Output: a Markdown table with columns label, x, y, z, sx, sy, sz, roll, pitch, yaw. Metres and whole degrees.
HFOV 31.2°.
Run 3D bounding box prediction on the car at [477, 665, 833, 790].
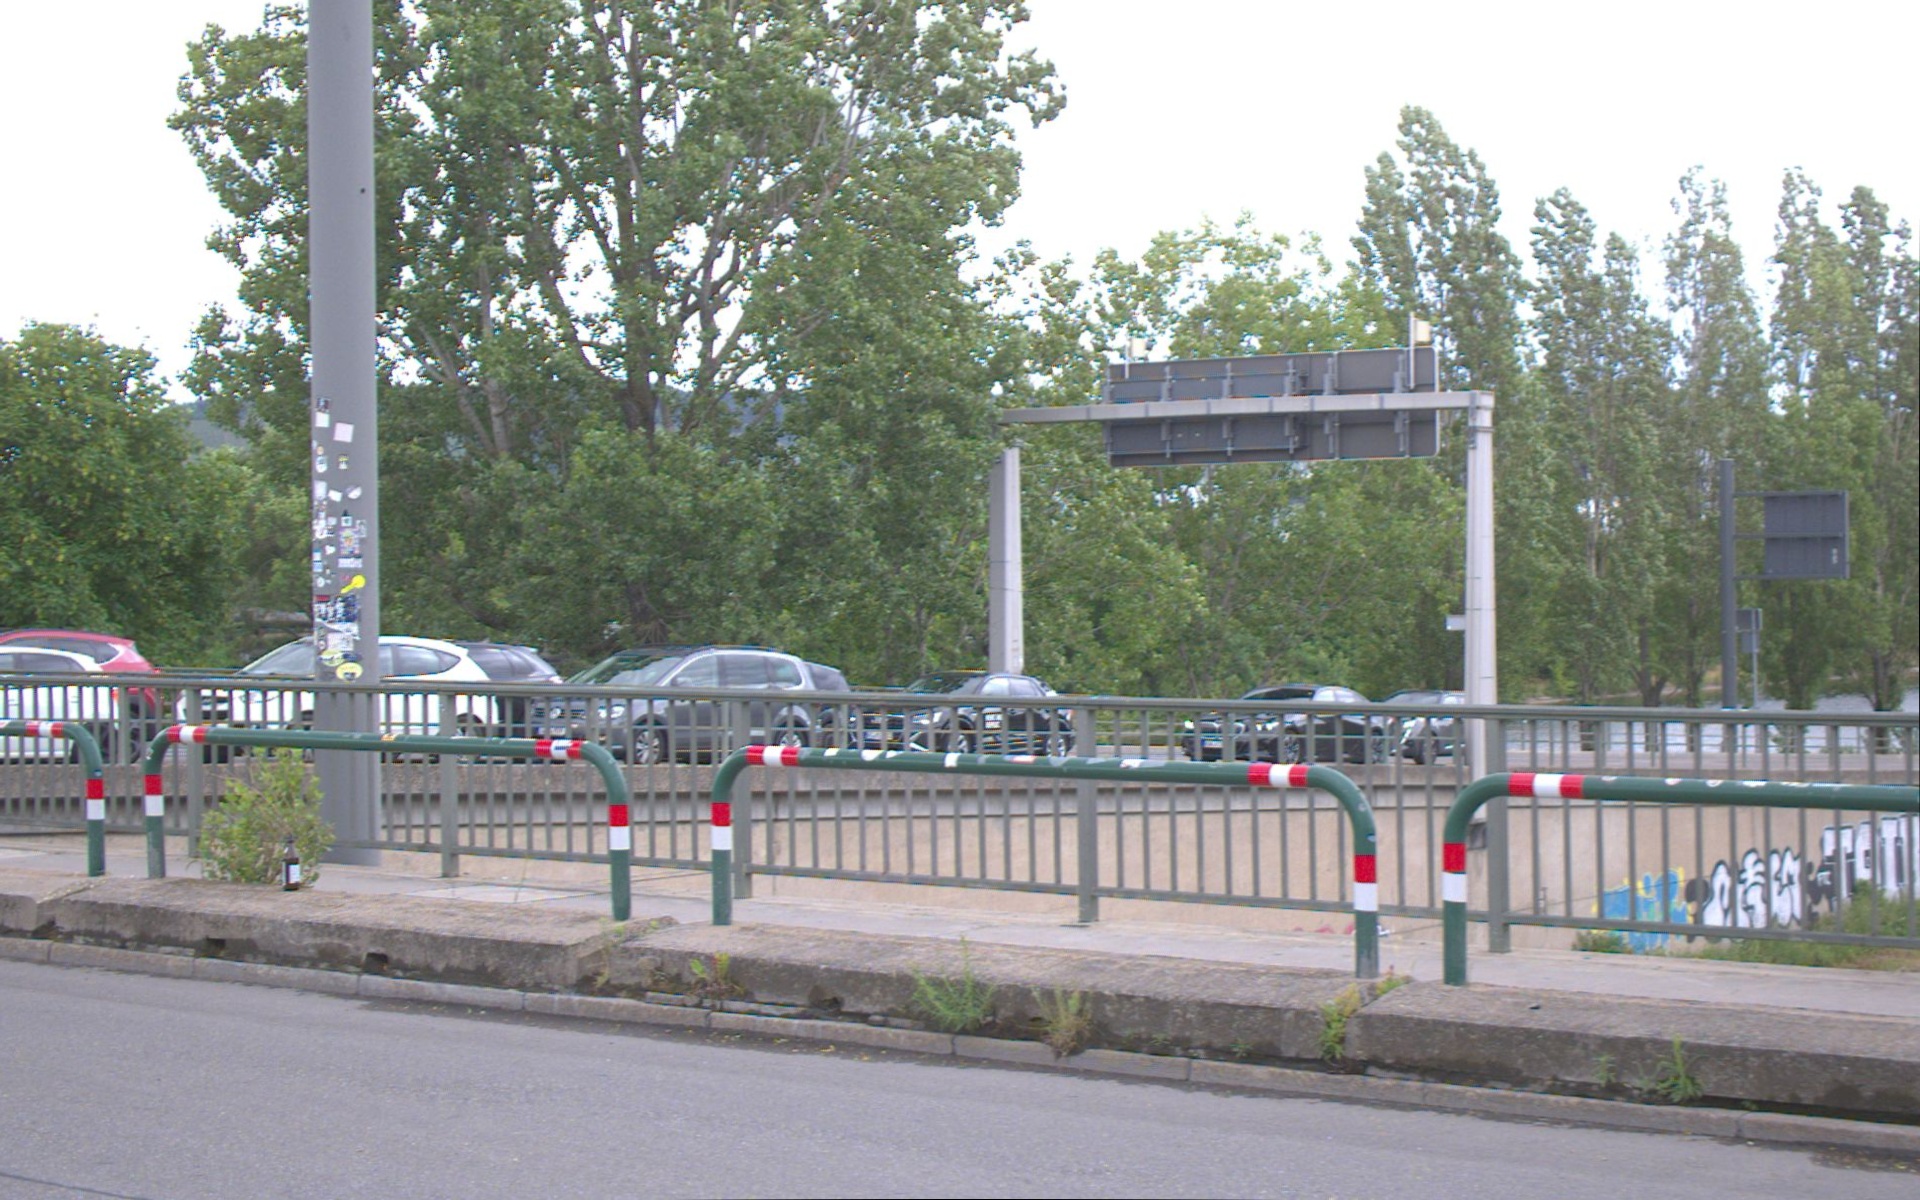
| label | x | y | z | sx | sy | sz | roll | pitch | yaw |
| --- | --- | --- | --- | --- | --- | --- | --- | --- | --- |
| car | -4.099 | 1.743 | 46.962 | 1.998 | 1.614 | 4.951 | -2 | -3 | 38 |

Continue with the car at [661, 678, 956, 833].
| label | x | y | z | sx | sy | sz | roll | pitch | yaw |
| --- | --- | --- | --- | --- | --- | --- | --- | --- | --- |
| car | -2.357 | 2.414 | 54.535 | 2.211 | 2.006 | 4.535 | 0 | 3 | 38 |

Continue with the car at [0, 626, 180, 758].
| label | x | y | z | sx | sy | sz | roll | pitch | yaw |
| --- | --- | --- | --- | --- | --- | --- | --- | --- | --- |
| car | -11.476 | 1.113 | 41.197 | 1.694 | 1.535 | 3.999 | -2 | -3 | 37 |

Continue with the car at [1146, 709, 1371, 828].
| label | x | y | z | sx | sy | sz | roll | pitch | yaw |
| --- | --- | --- | --- | --- | --- | --- | --- | --- | --- |
| car | 5.227 | 2.892 | 59.828 | 1.998 | 1.612 | 3.992 | 0 | 4 | 38 |

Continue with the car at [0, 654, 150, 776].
| label | x | y | z | sx | sy | sz | roll | pitch | yaw |
| --- | --- | --- | --- | --- | --- | --- | --- | --- | --- |
| car | -10.927 | 1.256 | 37.477 | 1.789 | 1.309 | 3.756 | -2 | -3 | 40 |

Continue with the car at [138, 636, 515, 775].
| label | x | y | z | sx | sy | sz | roll | pitch | yaw |
| --- | --- | --- | --- | --- | --- | --- | --- | --- | --- |
| car | -7.763 | 1.313 | 42.459 | 1.998 | 1.614 | 4.332 | -2 | -3 | 38 |

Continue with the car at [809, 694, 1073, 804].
| label | x | y | z | sx | sy | sz | roll | pitch | yaw |
| --- | --- | --- | --- | --- | --- | --- | --- | --- | --- |
| car | -0.252 | 2.268 | 52.624 | 1.998 | 1.613 | 3.991 | -2 | -3 | 38 |
